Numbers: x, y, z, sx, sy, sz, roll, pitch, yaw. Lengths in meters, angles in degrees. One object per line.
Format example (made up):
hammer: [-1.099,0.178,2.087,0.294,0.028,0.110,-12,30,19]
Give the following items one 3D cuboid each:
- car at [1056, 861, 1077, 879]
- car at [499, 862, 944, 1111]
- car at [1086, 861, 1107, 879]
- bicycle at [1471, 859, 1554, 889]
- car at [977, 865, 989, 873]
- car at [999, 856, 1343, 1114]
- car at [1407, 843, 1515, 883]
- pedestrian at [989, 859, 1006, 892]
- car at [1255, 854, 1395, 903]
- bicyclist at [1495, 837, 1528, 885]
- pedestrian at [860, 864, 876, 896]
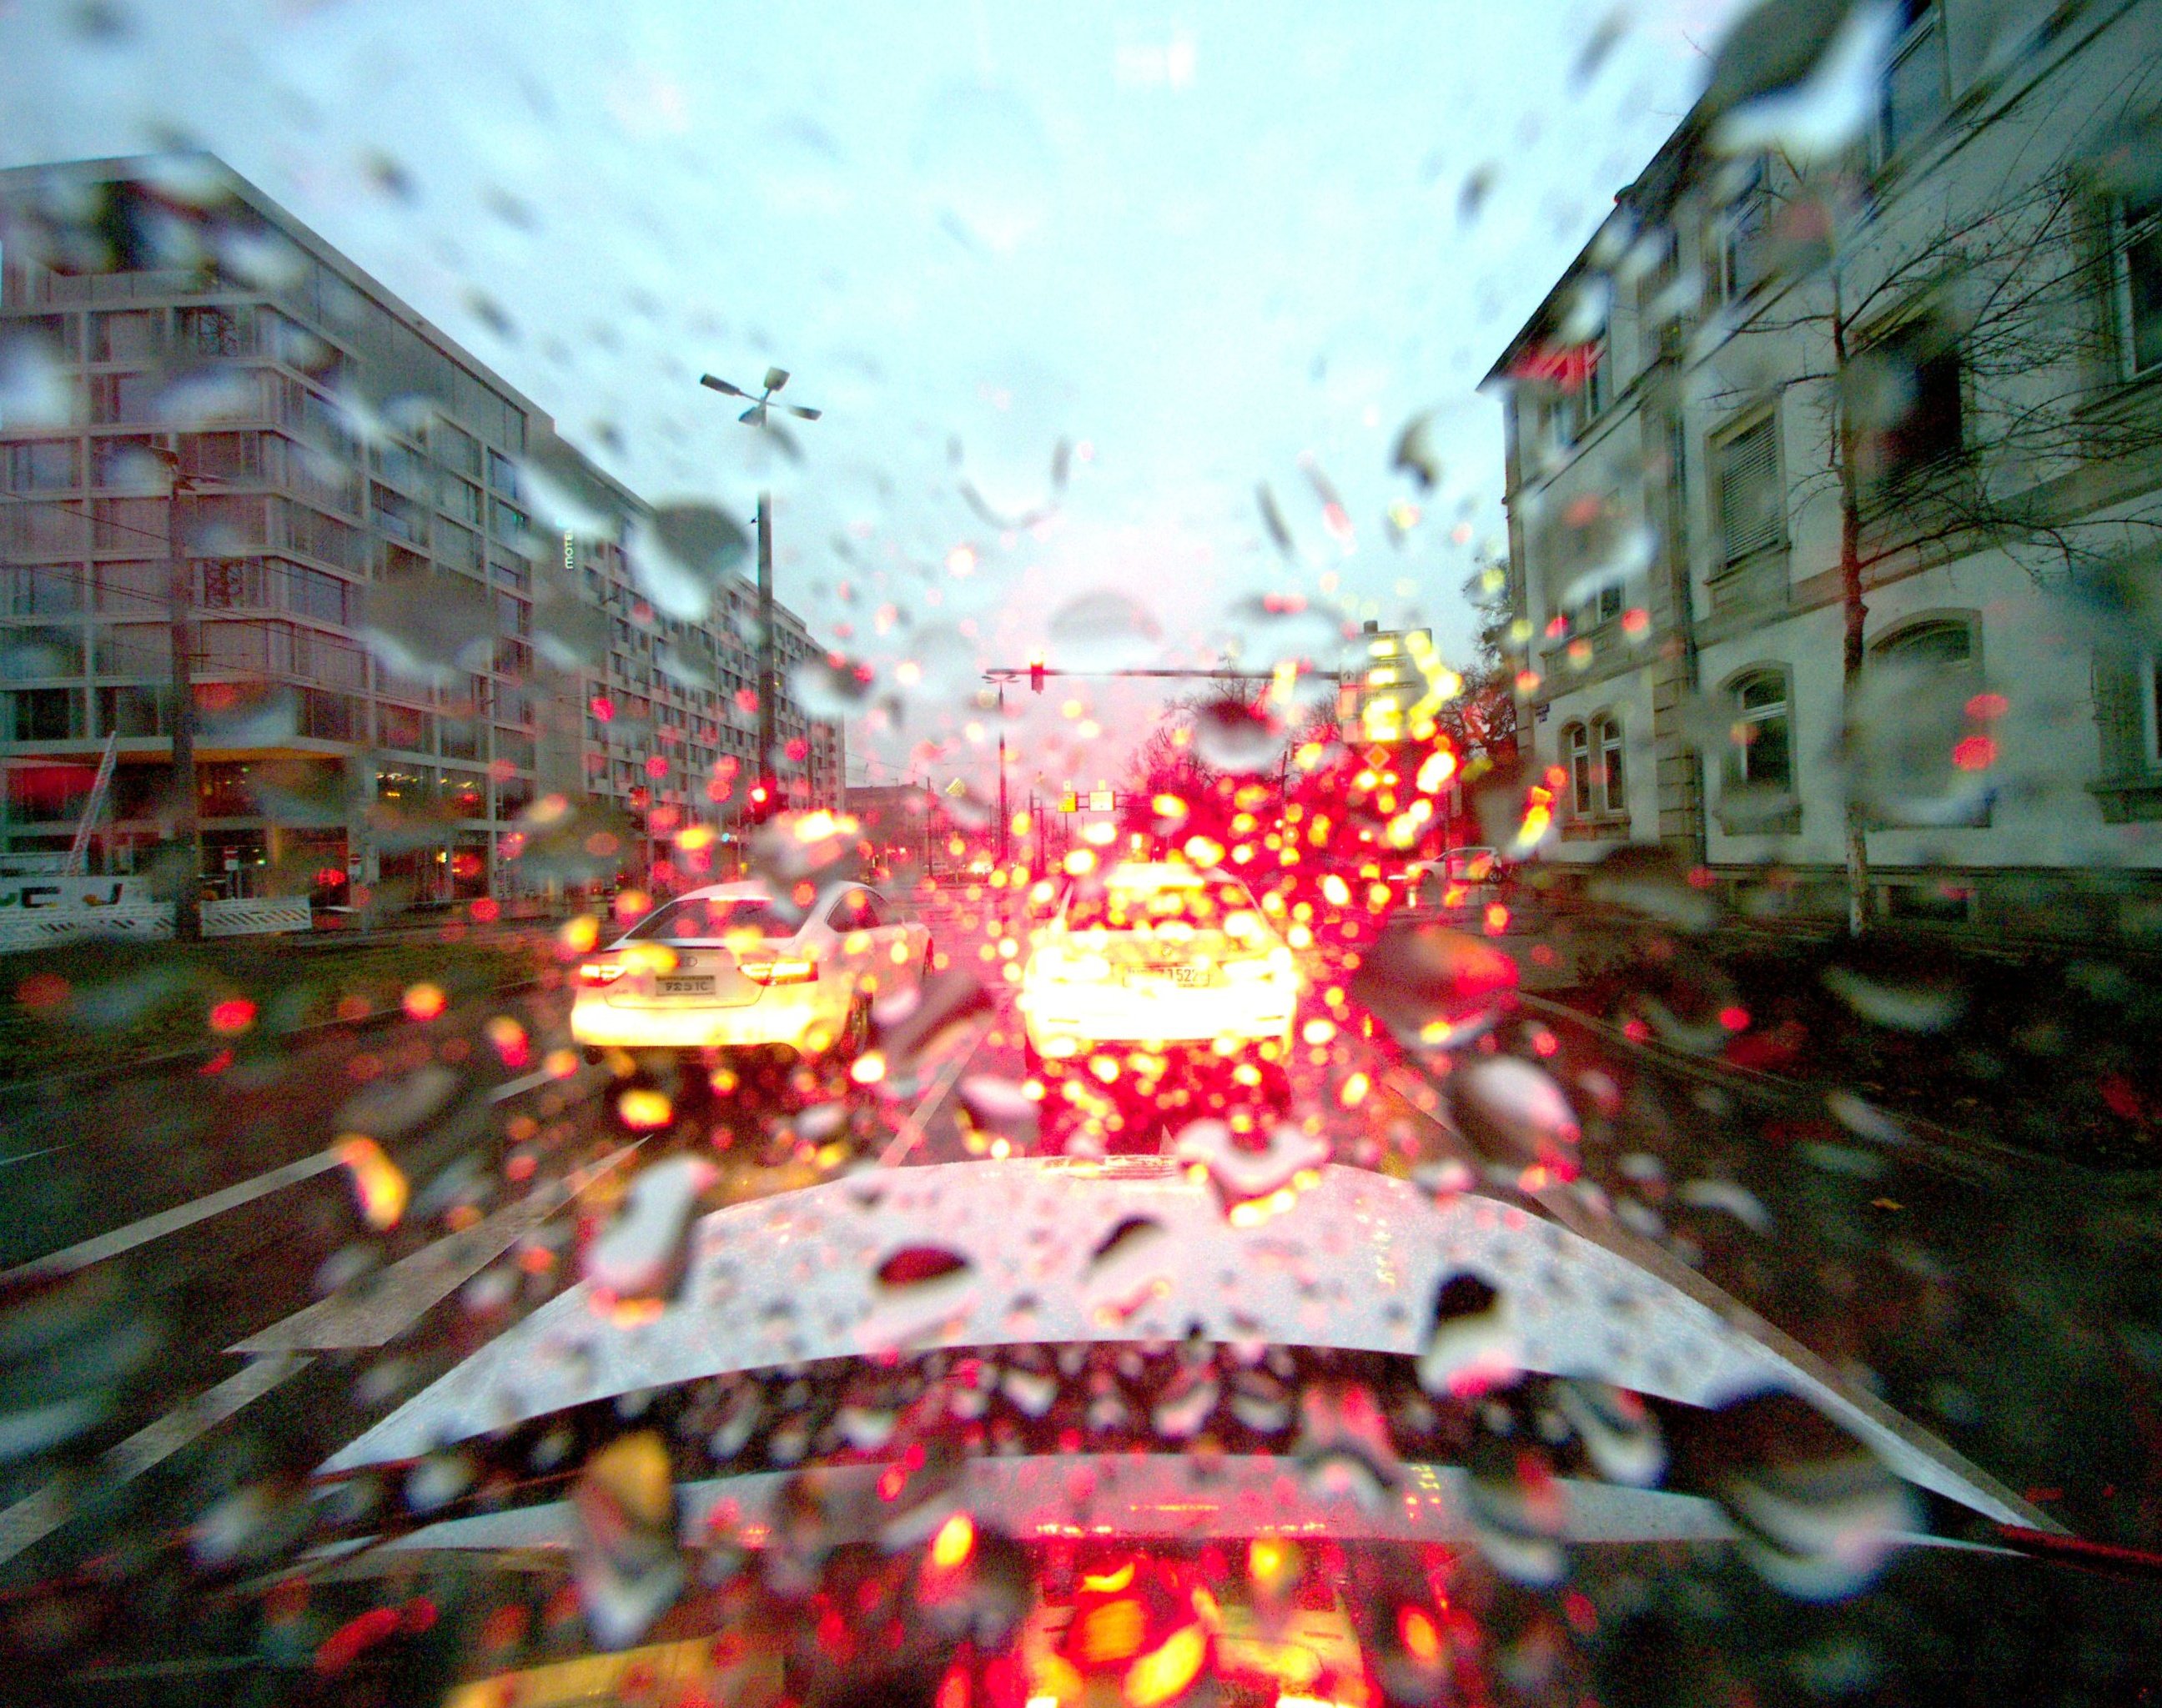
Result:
car: [-1.322,1.463,75.003,1.837,1.609,3.943,0,-1,-1]
car: [-2.592,0.839,7.230,1.987,1.456,4.367,-1,0,0]
car: [1.410,1.423,73.201,1.836,1.609,3.945,0,-1,1]
bicycle: [16.175,0.744,30.592,2.644,1.089,0.819,0,-1,20]
car: [-17.646,2.688,146.733,1.669,1.508,3.697,0,-1,1]
car: [0.530,0.770,6.937,1.987,1.456,4.367,-1,0,0]
car: [15.564,0.392,33.467,3.918,1.554,1.759,0,-1,26]
pedestrian: [-4.795,1.231,46.823,0.903,1.856,0.809,0,-1,-11]
car: [8.075,0.794,26.998,4.275,1.530,1.772,0,-1,22]
bicyclist: [16.166,0.269,30.606,0.964,1.759,0.817,0,-1,19]
pedestrian: [-11.713,1.426,44.783,0.791,1.712,0.809,0,-1,-13]
